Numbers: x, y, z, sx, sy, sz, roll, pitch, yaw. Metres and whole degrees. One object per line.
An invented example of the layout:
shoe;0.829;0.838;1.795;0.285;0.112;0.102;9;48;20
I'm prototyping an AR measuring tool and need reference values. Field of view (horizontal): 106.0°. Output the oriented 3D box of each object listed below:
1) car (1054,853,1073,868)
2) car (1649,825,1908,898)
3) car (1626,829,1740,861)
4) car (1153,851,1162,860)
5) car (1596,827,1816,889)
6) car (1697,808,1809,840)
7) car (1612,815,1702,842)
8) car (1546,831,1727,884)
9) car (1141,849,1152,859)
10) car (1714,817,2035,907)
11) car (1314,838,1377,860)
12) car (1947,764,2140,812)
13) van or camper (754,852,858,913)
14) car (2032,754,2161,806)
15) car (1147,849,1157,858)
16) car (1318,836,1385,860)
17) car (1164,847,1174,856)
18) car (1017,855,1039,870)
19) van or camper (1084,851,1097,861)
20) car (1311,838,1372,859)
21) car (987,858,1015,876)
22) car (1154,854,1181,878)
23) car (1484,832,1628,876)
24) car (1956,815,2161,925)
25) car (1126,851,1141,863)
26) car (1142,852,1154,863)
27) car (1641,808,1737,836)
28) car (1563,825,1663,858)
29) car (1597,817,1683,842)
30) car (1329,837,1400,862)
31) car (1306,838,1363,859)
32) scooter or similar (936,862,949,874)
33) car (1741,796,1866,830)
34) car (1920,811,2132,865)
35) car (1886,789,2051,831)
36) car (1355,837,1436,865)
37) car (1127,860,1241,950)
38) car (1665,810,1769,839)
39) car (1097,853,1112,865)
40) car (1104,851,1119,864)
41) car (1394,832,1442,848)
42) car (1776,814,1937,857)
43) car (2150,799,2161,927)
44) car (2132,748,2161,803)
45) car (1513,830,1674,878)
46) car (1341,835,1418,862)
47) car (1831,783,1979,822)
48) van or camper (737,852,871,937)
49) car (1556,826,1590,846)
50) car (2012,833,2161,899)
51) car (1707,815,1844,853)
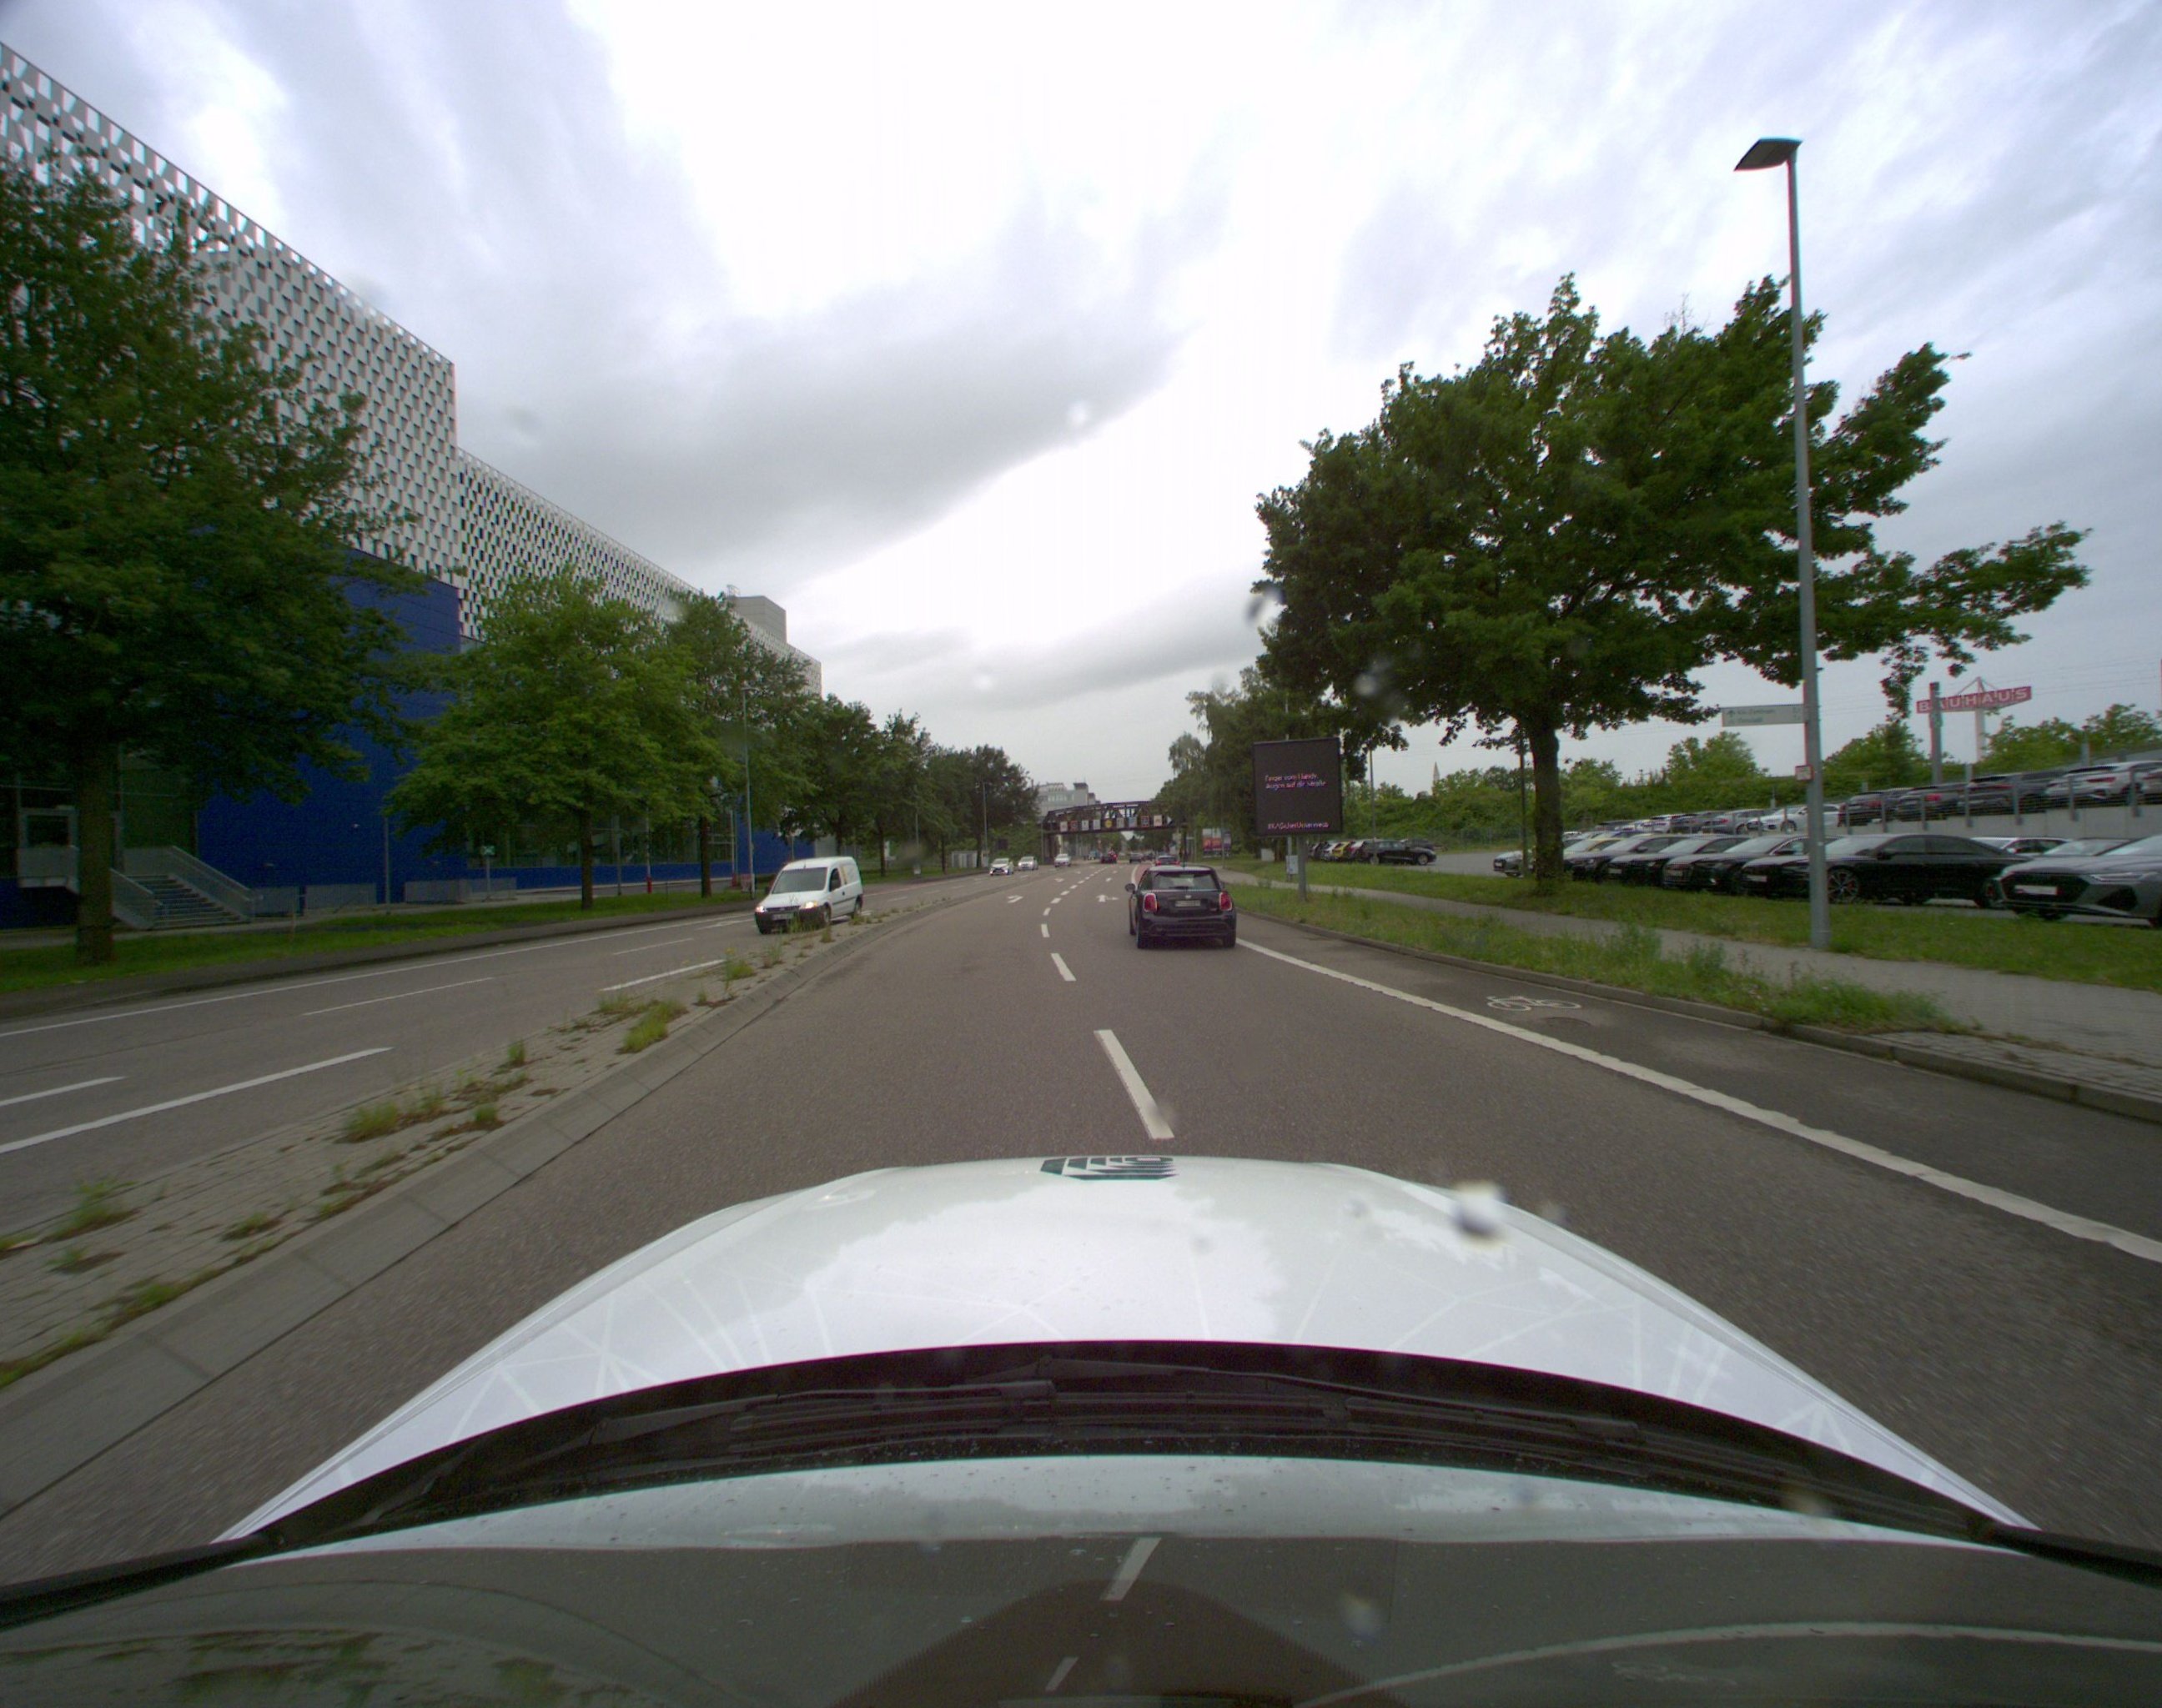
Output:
car;-2.177;0.800;102.584;1.930;1.675;3.790;-1;2;7
car;16.166;0.154;19.084;4.324;1.503;1.931;1;0;3
car;28.342;-0.442;38.444;4.068;1.435;1.732;-1;2;3
car;17.500;0.404;187.231;1.940;1.815;4.008;-1;2;6
car;16.317;0.099;21.449;4.324;1.488;1.845;-1;0;3
car;33.183;-1.484;40.269;4.068;1.435;1.732;-1;2;3
car;33.774;-1.499;47.811;4.068;1.435;1.732;-1;2;3
car;16.277;0.080;24.024;4.068;1.435;1.824;-1;2;3
car;13.031;-0.012;161.820;1.940;1.815;4.008;-1;2;6
car;15.912;0.136;16.557;4.426;1.571;2.002;2;0;3
car;18.208;-0.341;56.202;3.962;1.435;1.736;-1;2;10
car;32.156;-2.190;27.325;4.068;1.435;1.949;-1;2;3
van or camper;-10.272;0.993;30.834;1.867;1.986;4.895;-3;1;4
car;32.094;-2.256;24.841;4.068;1.435;1.732;-1;2;3
car;15.146;-0.161;174.129;1.874;1.661;3.790;-1;2;7
car;17.578;-0.388;53.059;3.962;1.435;1.736;-1;2;10
car;18.876;-0.615;174.855;1.940;1.815;4.008;-1;2;6
car;-5.529;0.838;85.562;1.710;1.371;3.447;-1;2;7
van or camper;2.806;0.535;236.765;1.978;2.485;7.058;-2;0;16
car;18.502;-0.400;58.057;3.962;1.435;1.736;-1;2;10
car;-6.938;1.122;71.099;1.745;1.446;3.346;-1;2;7
car;6.078;0.813;56.823;1.747;1.434;4.009;-2;1;7
car;16.706;-0.019;28.791;4.068;1.435;1.732;-1;2;3
car;15.504;0.269;11.346;4.272;1.392;2.003;2;0;5
car;8.404;0.434;130.240;2.124;1.661;3.790;-1;2;7
car;11.345;0.588;137.483;1.874;1.661;3.790;-1;2;7
car;33.791;-1.764;45.337;4.068;1.435;1.732;-1;2;3
car;27.540;-0.652;42.253;4.068;1.620;1.732;-1;2;3
car;34.138;-1.492;49.825;4.068;1.435;1.732;-1;2;3
car;17.577;-0.269;50.697;3.962;1.435;1.736;-1;2;10
car;19.317;-0.426;62.126;3.962;1.435;1.736;-1;2;10
scooter or similar;-13.127;1.317;77.170;0.759;1.089;2.009;-1;2;3
car;33.299;-1.873;37.624;4.182;1.435;1.732;-1;2;3
car;27.528;-0.478;23.834;4.068;1.435;1.732;-1;2;3
car;32.394;-1.597;29.813;4.068;1.435;1.732;-1;2;3
car;17.391;-0.186;45.191;3.962;1.435;1.736;-1;2;10
car;1.796;0.851;15.203;1.779;1.416;3.645;1;0;2
car;33.340;-1.554;42.772;4.068;1.435;1.732;-1;2;3
car;3.584;0.722;123.466;1.874;1.661;3.790;-1;2;7
car;4.904;0.510;130.135;1.940;1.815;4.008;-1;2;6
car;31.933;-1.362;77.337;3.962;1.435;1.736;-1;2;10
car;27.884;-0.678;29.379;4.068;1.435;1.732;-1;2;3
car;15.239;0.182;8.887;4.239;1.565;2.003;2;0;5
car;31.875;-2.205;22.207;4.068;1.496;1.732;-1;2;3
car;16.552;-0.020;26.475;4.068;1.435;1.848;-1;2;3
car;17.429;-0.338;47.690;3.962;1.435;1.736;-1;2;10
car;32.754;-2.041;32.462;4.068;1.435;1.732;-1;2;3
van or camper;-6.903;0.923;20.839;1.749;1.747;4.407;-5;0;0
car;38.058;-1.418;62.971;1.974;1.398;4.026;0;2;35
car;27.197;0.276;21.087;4.068;1.542;1.732;-1;2;3
car;28.126;-0.812;33.081;4.068;1.435;1.732;-1;2;3
